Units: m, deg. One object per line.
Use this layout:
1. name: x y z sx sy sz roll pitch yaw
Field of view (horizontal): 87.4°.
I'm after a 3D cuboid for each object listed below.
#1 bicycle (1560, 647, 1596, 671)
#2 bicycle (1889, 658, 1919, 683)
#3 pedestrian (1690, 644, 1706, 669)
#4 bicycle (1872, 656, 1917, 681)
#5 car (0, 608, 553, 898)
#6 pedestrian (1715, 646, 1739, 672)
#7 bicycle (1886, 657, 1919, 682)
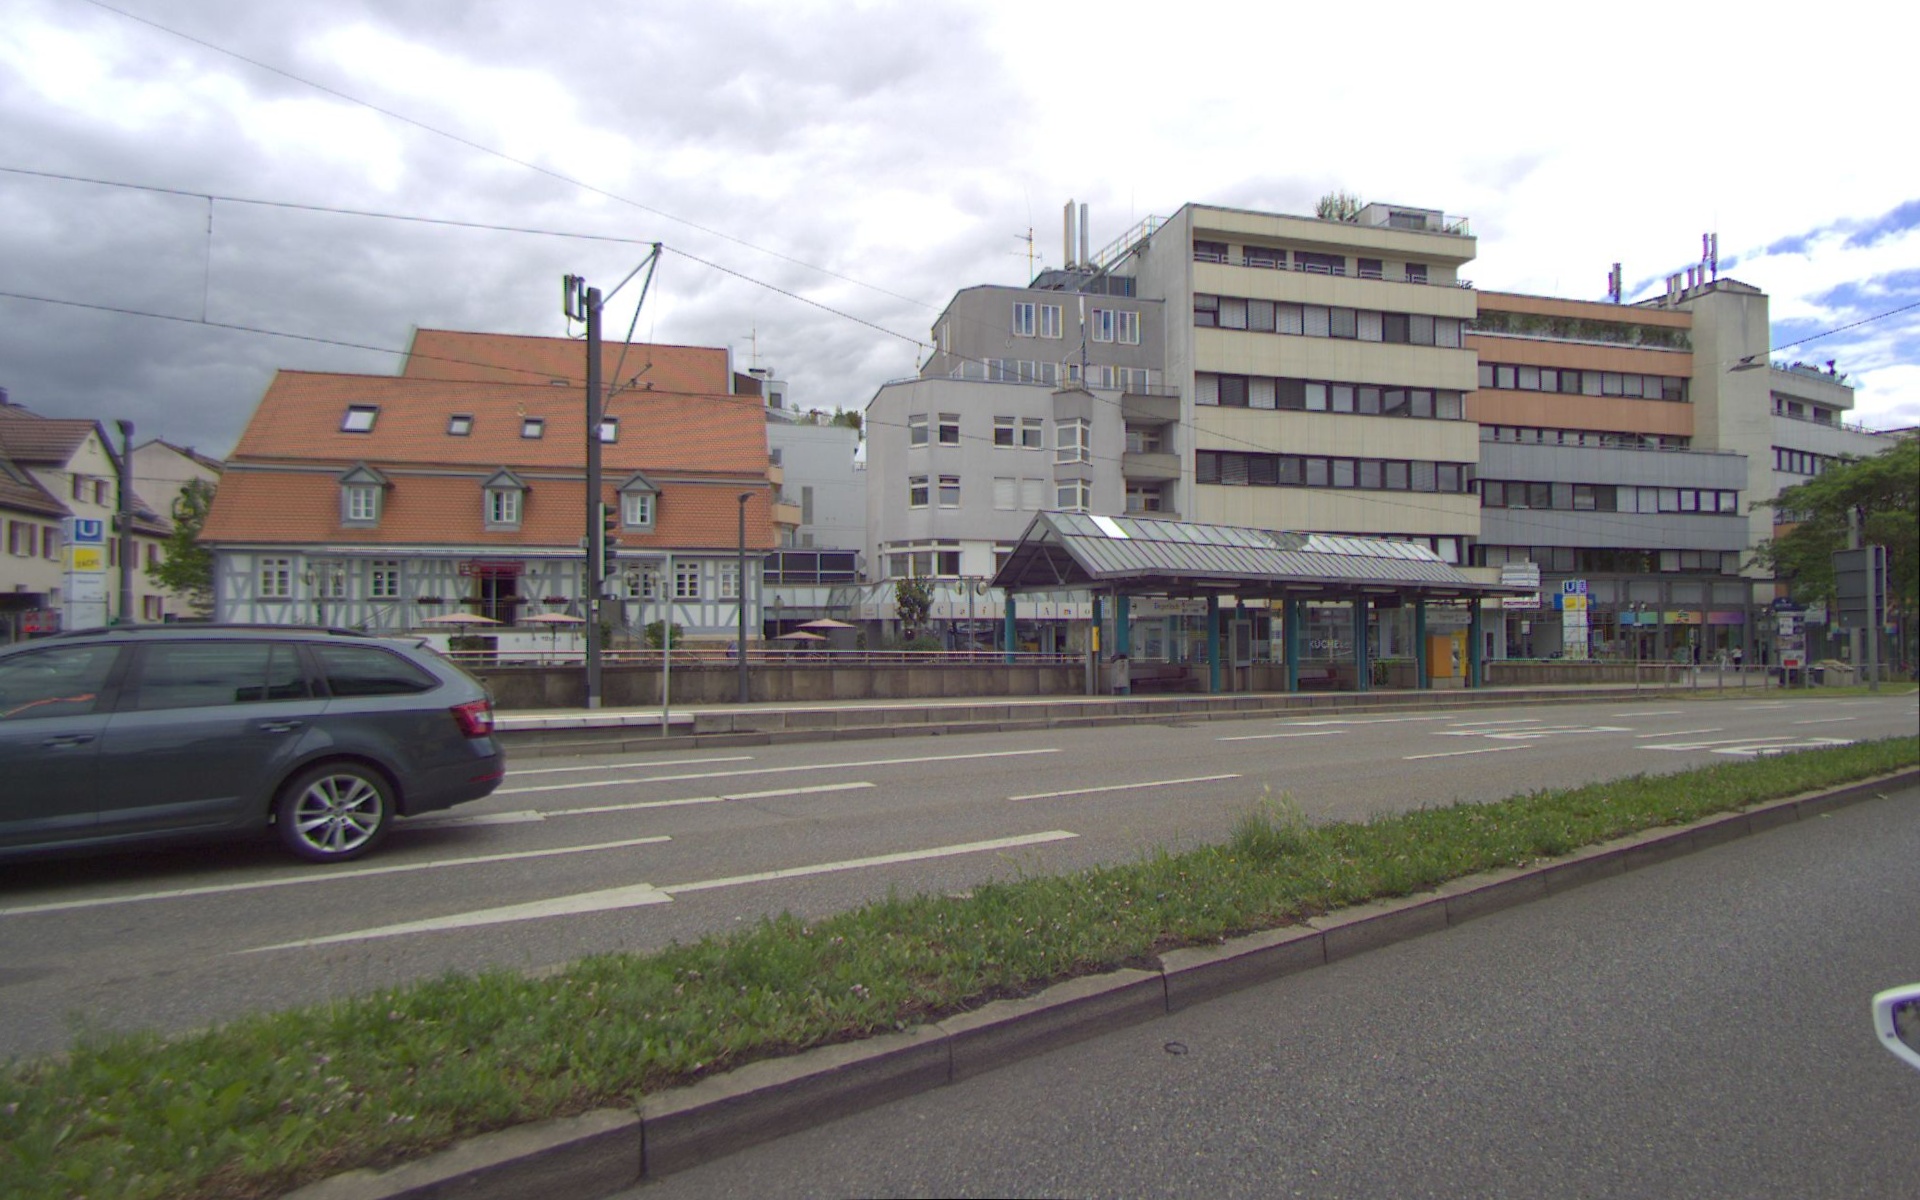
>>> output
1. bicycle: 35.934 3.418 58.432 0.692 1.336 1.973 1 -3 -6
2. bicycle: 49.330 3.685 52.220 1.441 1.270 0.432 0 -2 13
3. pedestrian: 44.873 3.435 61.052 0.580 1.547 0.558 -1 -2 17
4. bicycle: 49.162 3.605 52.849 1.649 1.270 0.627 1 -3 10
5. car: -5.268 0.858 6.425 4.601 1.532 1.980 2 -3 -37
6. pedestrian: 46.614 3.571 61.061 0.882 1.547 0.852 -1 -2 17
7. bicycle: 48.638 3.573 51.486 1.649 1.270 0.627 0 -2 11
